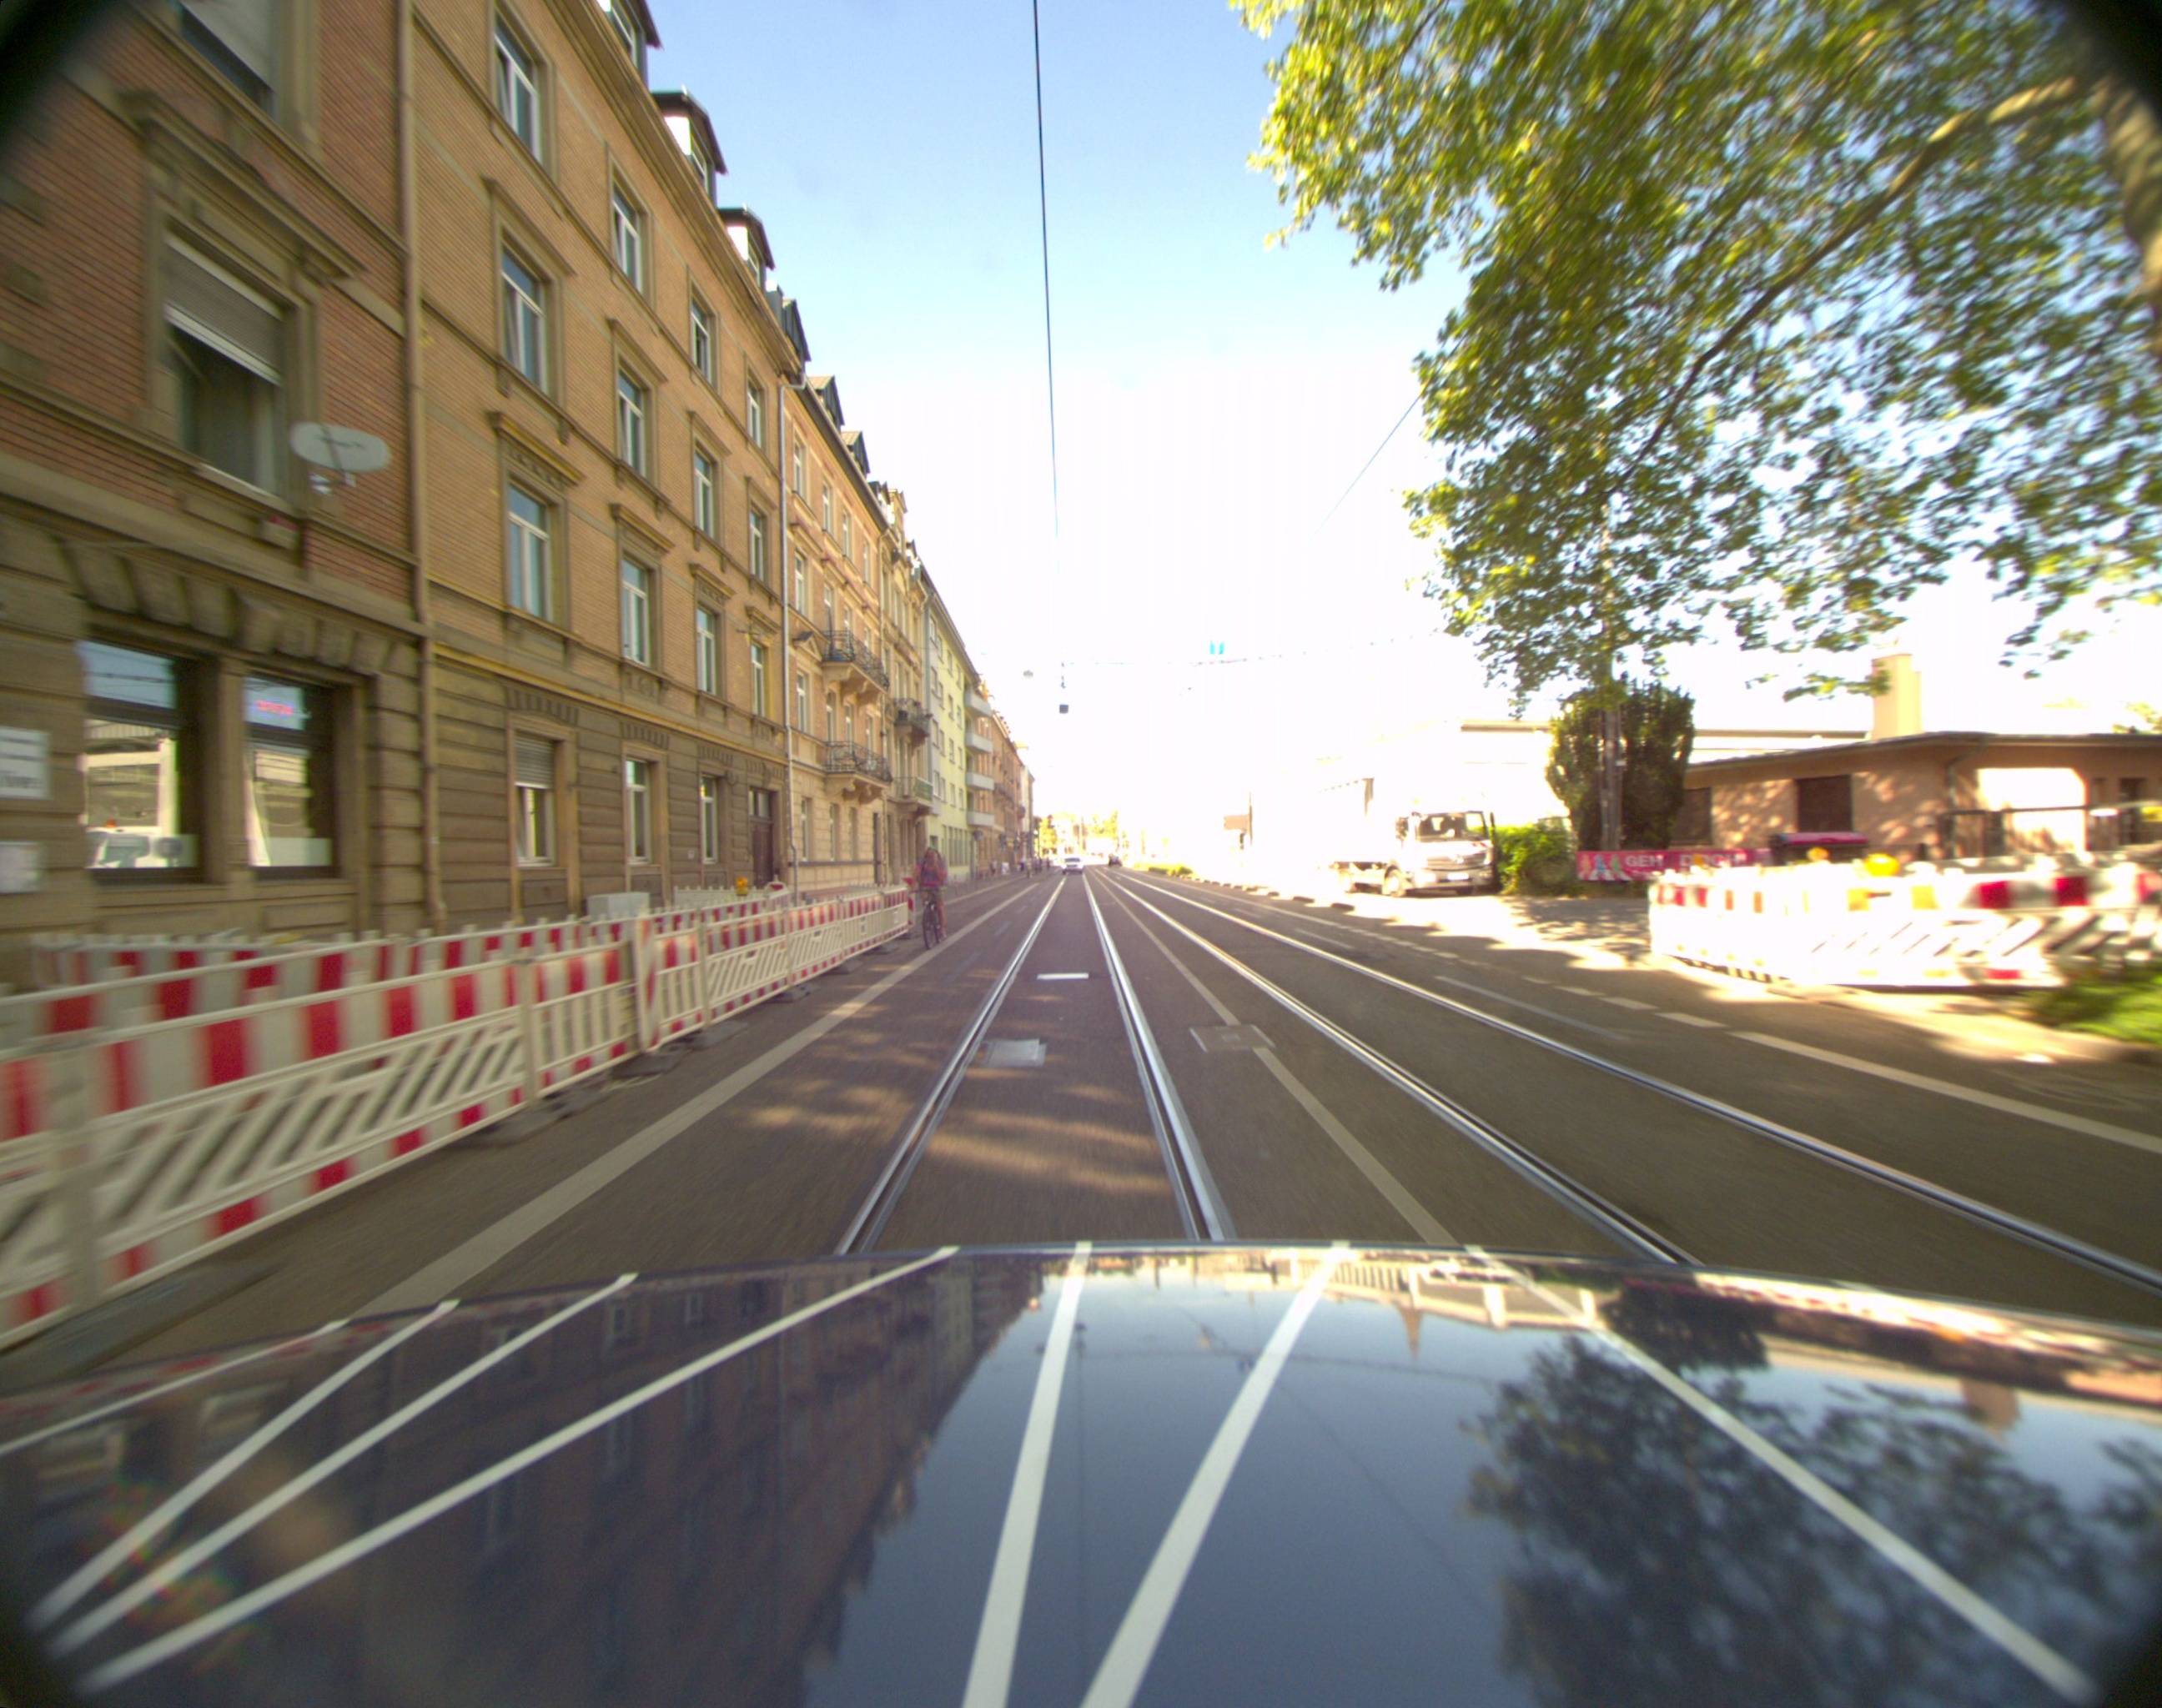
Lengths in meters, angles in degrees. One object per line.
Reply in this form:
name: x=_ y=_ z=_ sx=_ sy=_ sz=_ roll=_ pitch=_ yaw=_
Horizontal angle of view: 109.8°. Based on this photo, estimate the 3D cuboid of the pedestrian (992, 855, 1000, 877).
pedestrian: x=-6.653 y=0.917 z=59.567 sx=0.554 sy=1.691 sz=0.473 roll=0 pitch=1 yaw=0

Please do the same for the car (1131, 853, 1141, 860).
car: x=12.332 y=0.640 z=169.684 sx=1.807 sy=1.424 sz=4.540 roll=-3 pitch=1 yaw=1

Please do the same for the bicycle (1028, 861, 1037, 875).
bicycle: x=-3.969 y=1.170 z=61.812 sx=0.533 sy=1.111 sz=1.934 roll=-3 pitch=-1 yaw=0

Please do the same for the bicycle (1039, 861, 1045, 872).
bicycle: x=-3.846 y=1.182 z=74.300 sx=0.387 sy=1.062 sz=1.934 roll=-1 pitch=0 yaw=2

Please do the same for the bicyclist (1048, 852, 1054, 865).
bicyclist: x=-3.675 y=0.528 z=92.438 sx=0.551 sy=1.604 sz=0.953 roll=-3 pitch=1 yaw=0

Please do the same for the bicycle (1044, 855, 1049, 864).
bicycle: x=-4.567 y=0.762 z=101.384 sx=0.533 sy=1.152 sz=1.865 roll=-2 pitch=1 yaw=-1

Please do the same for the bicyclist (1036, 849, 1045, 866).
bicyclist: x=-3.972 y=0.324 z=74.286 sx=0.784 sy=1.584 sz=0.886 roll=-1 pitch=0 yaw=2

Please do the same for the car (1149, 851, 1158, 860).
car: x=14.155 y=0.277 z=147.932 sx=1.803 sy=1.709 sz=4.417 roll=-1 pitch=1 yaw=6

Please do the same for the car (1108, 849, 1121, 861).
car: x=4.967 y=0.113 z=112.347 sx=1.763 sy=1.687 sz=4.143 roll=-3 pitch=1 yaw=1

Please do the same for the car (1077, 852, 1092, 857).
car: x=1.167 y=0.172 z=239.094 sx=4.587 sy=1.449 sz=1.917 roll=-1 pitch=1 yaw=45

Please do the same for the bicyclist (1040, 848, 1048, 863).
bicyclist: x=-3.914 y=0.149 z=79.605 sx=0.625 sy=1.604 sz=0.981 roll=-3 pitch=1 yaw=5

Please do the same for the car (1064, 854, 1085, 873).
car: x=-0.612 y=0.885 z=70.719 sx=1.869 sy=1.635 sz=4.396 roll=-2 pitch=0 yaw=-2

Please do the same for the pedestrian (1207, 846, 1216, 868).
pedestrian: x=10.878 y=0.262 z=63.286 sx=0.528 sy=1.754 sz=1.051 roll=-3 pitch=1 yaw=0

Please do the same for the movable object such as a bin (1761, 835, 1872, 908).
movable object such as a bin: x=14.942 y=0.337 z=15.491 sx=1.137 sy=1.397 sz=1.288 roll=-3 pitch=1 yaw=16

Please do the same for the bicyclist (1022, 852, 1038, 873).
bicyclist: x=-4.144 y=0.705 z=61.819 sx=0.681 sy=1.674 sz=1.122 roll=-2 pitch=1 yaw=29

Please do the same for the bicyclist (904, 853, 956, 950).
bicyclist: x=-2.765 y=0.847 z=13.997 sx=0.669 sy=1.687 sz=1.043 roll=-3 pitch=1 yaw=-1

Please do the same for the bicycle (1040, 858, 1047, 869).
bicycle: x=-3.916 y=1.008 z=79.923 sx=0.533 sy=1.111 sz=1.933 roll=-1 pitch=1 yaw=1

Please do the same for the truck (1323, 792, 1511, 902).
truck: x=10.014 y=-0.218 z=23.509 sx=2.545 sy=2.814 sz=6.373 roll=-3 pitch=1 yaw=-4

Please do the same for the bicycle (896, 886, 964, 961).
bicycle: x=-2.742 y=1.223 z=14.110 sx=0.683 sy=1.108 sz=2.706 roll=-3 pitch=1 yaw=0

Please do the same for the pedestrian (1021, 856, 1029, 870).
pedestrian: x=-6.421 y=1.037 z=86.762 sx=0.800 sy=1.596 sz=0.652 roll=-1 pitch=1 yaw=2

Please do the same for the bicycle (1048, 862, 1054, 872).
bicycle: x=-3.625 y=1.548 z=92.297 sx=0.533 sy=1.111 sz=1.933 roll=-3 pitch=1 yaw=-1
